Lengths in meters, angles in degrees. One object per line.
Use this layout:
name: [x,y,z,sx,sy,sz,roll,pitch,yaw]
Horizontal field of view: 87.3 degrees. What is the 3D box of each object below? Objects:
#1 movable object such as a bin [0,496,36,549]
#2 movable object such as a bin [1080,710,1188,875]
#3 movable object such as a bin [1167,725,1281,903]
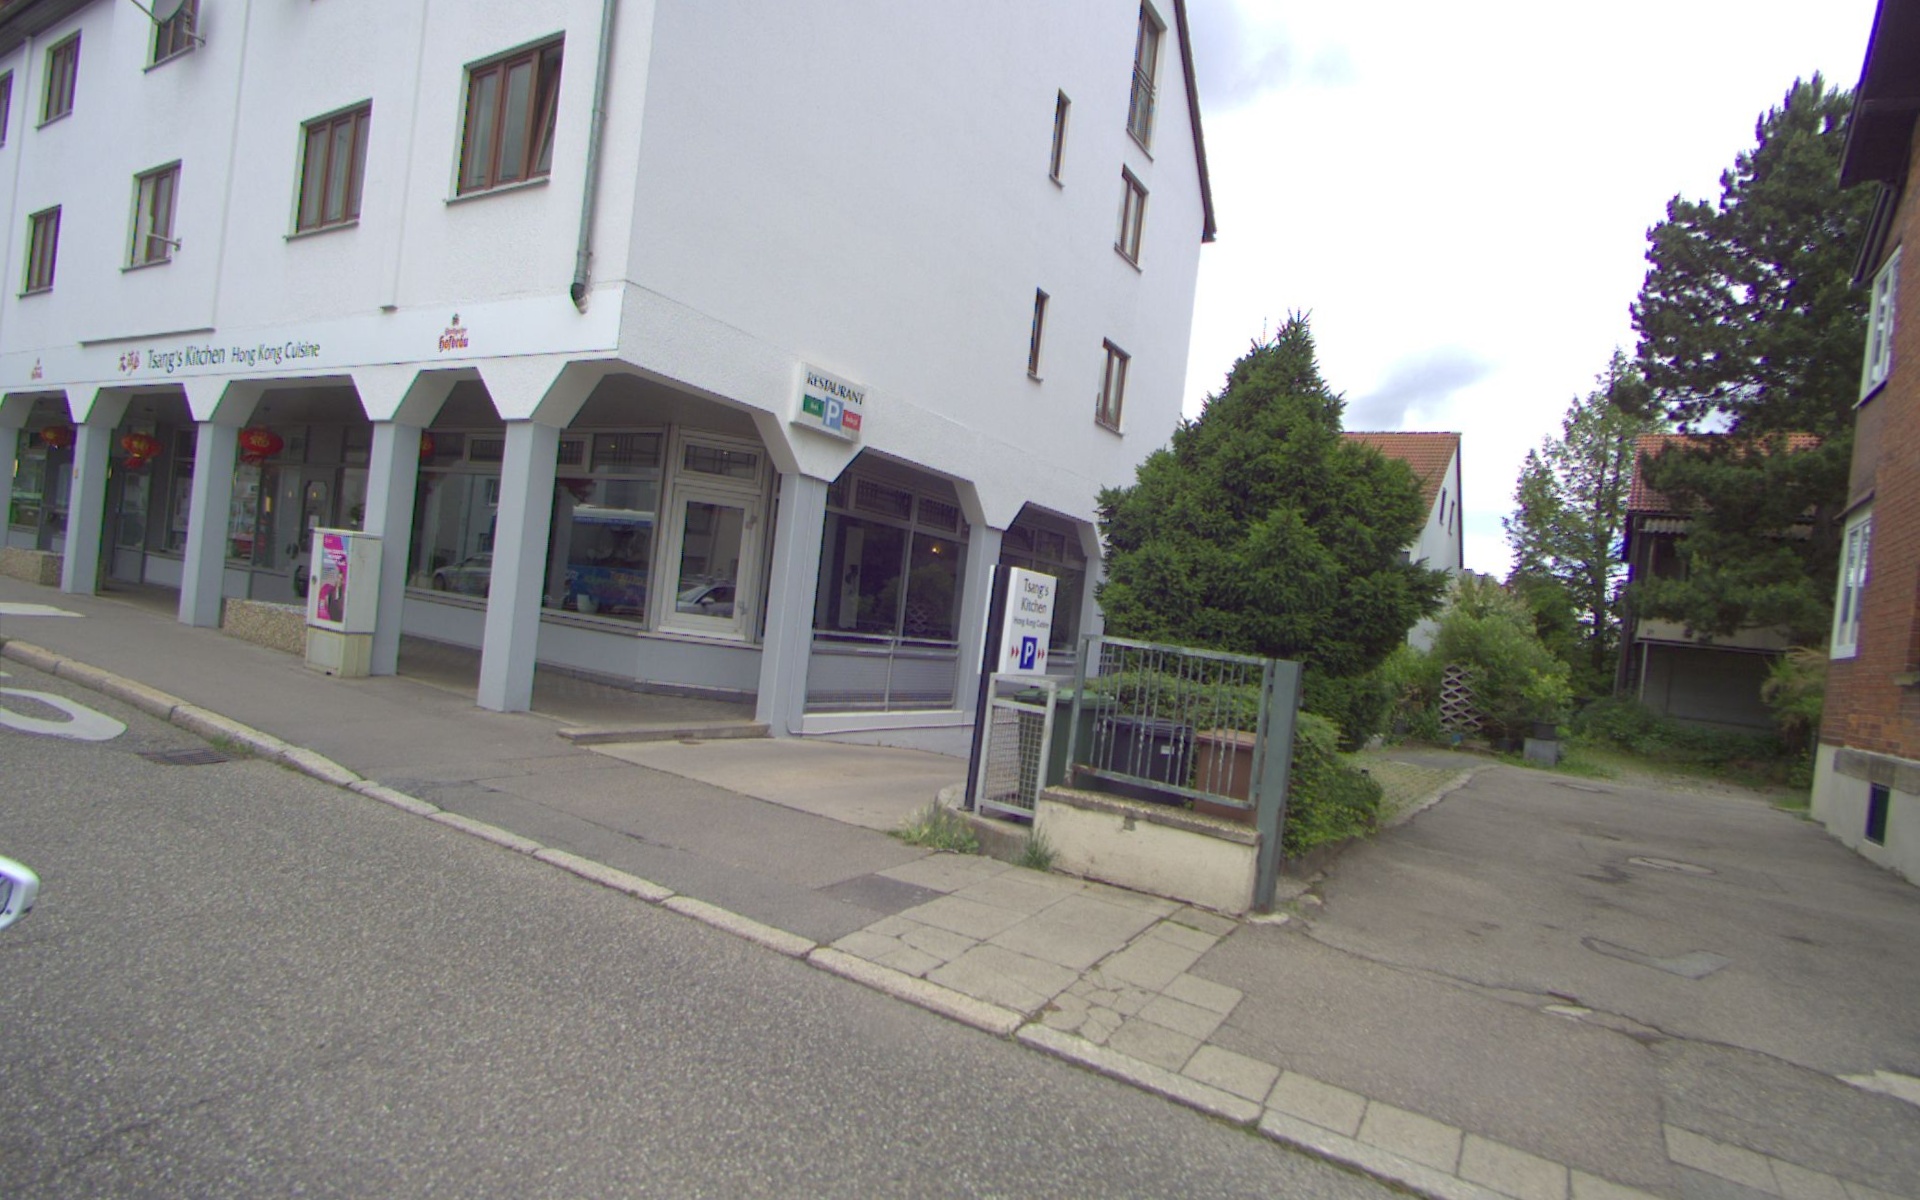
movable object such as a bin: [-27.799,-2.296,29.130,1.239,1.434,1.210,7,0,35]
movable object such as a bin: [1.091,1.179,6.282,0.449,0.915,0.398,7,0,32]
movable object such as a bin: [1.548,1.225,5.885,0.449,0.915,0.398,7,0,32]
